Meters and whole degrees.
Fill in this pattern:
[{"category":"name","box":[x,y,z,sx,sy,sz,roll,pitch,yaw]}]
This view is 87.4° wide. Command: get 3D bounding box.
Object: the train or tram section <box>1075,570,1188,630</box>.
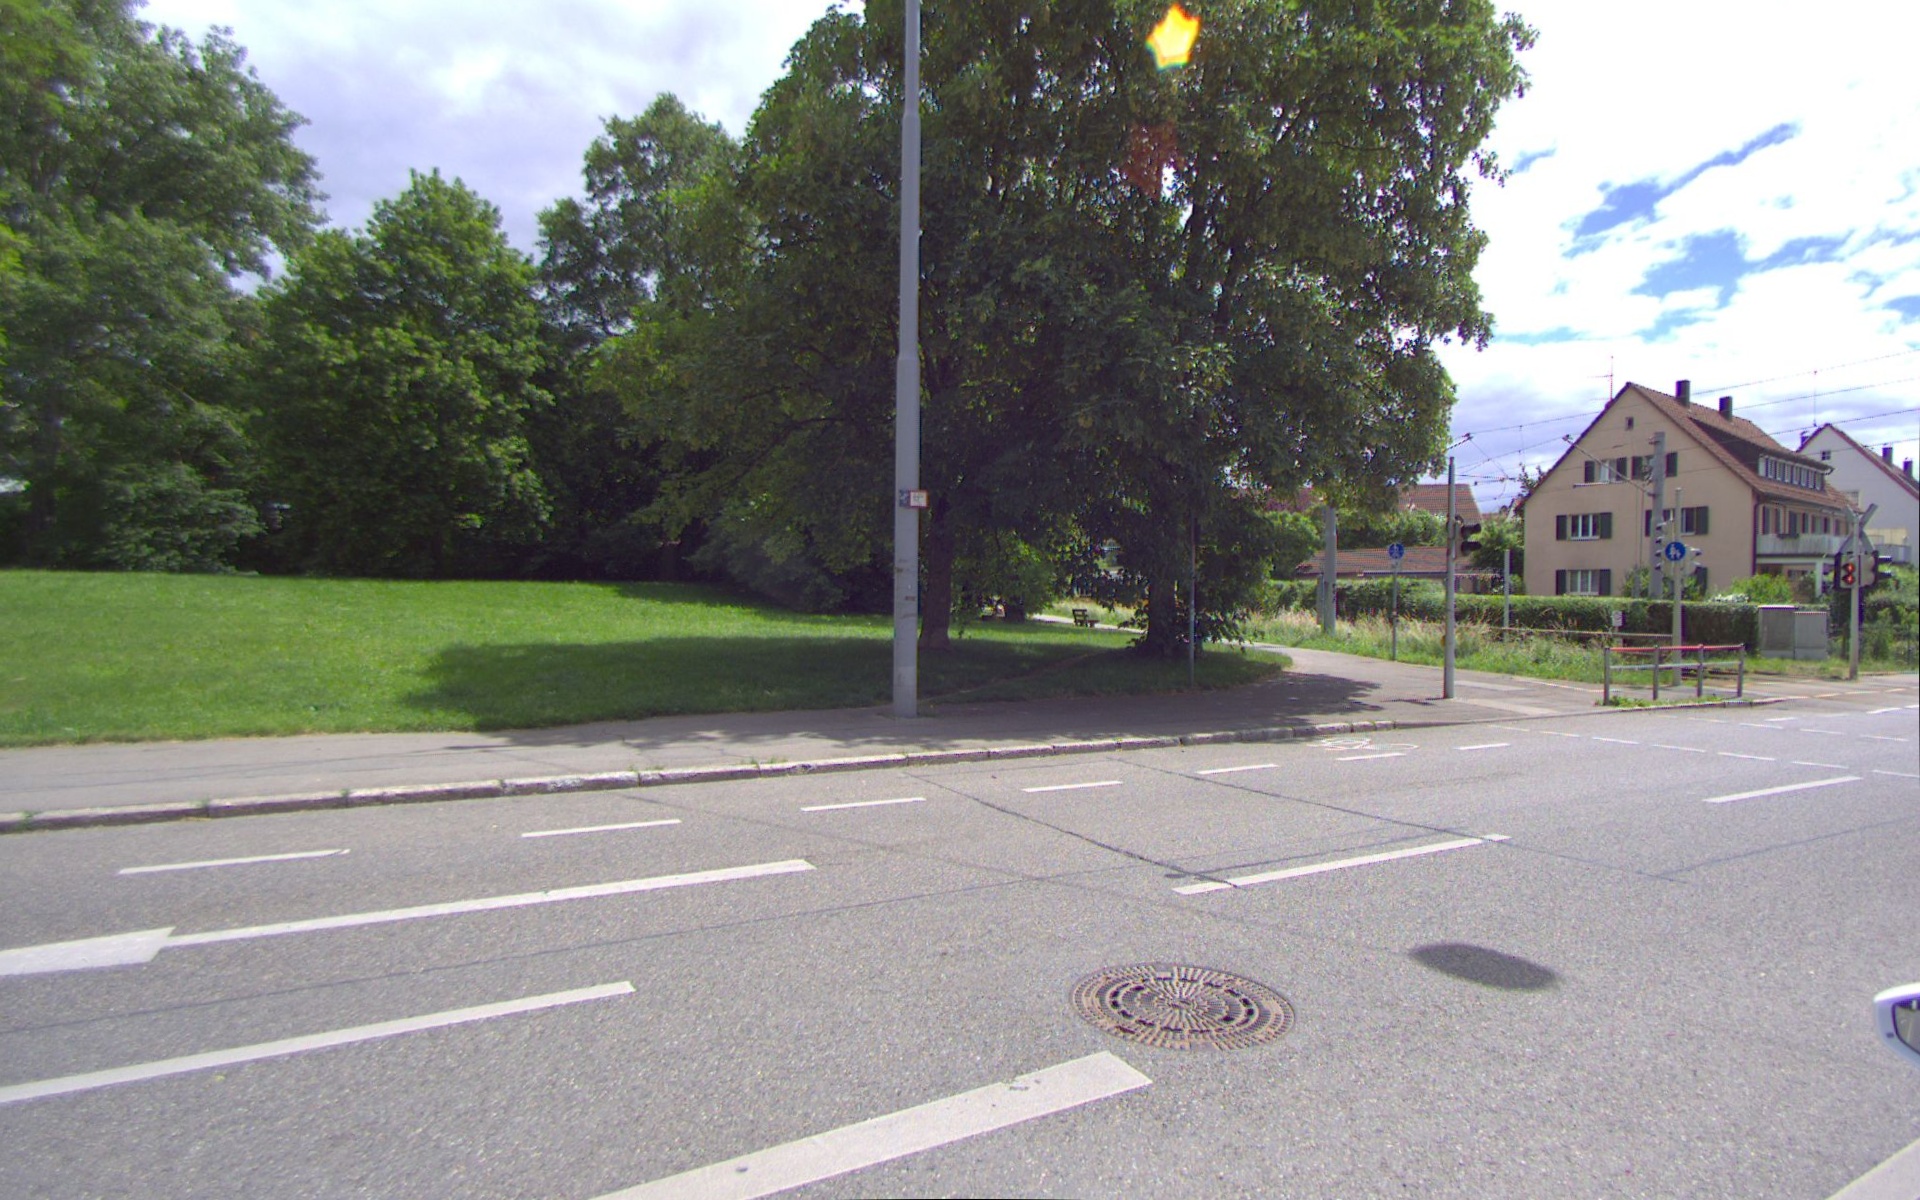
[{"category":"train or tram section","box":[11.939,-0.114,73.016,2.864,3.754,19.098,1,1,-6]}]
